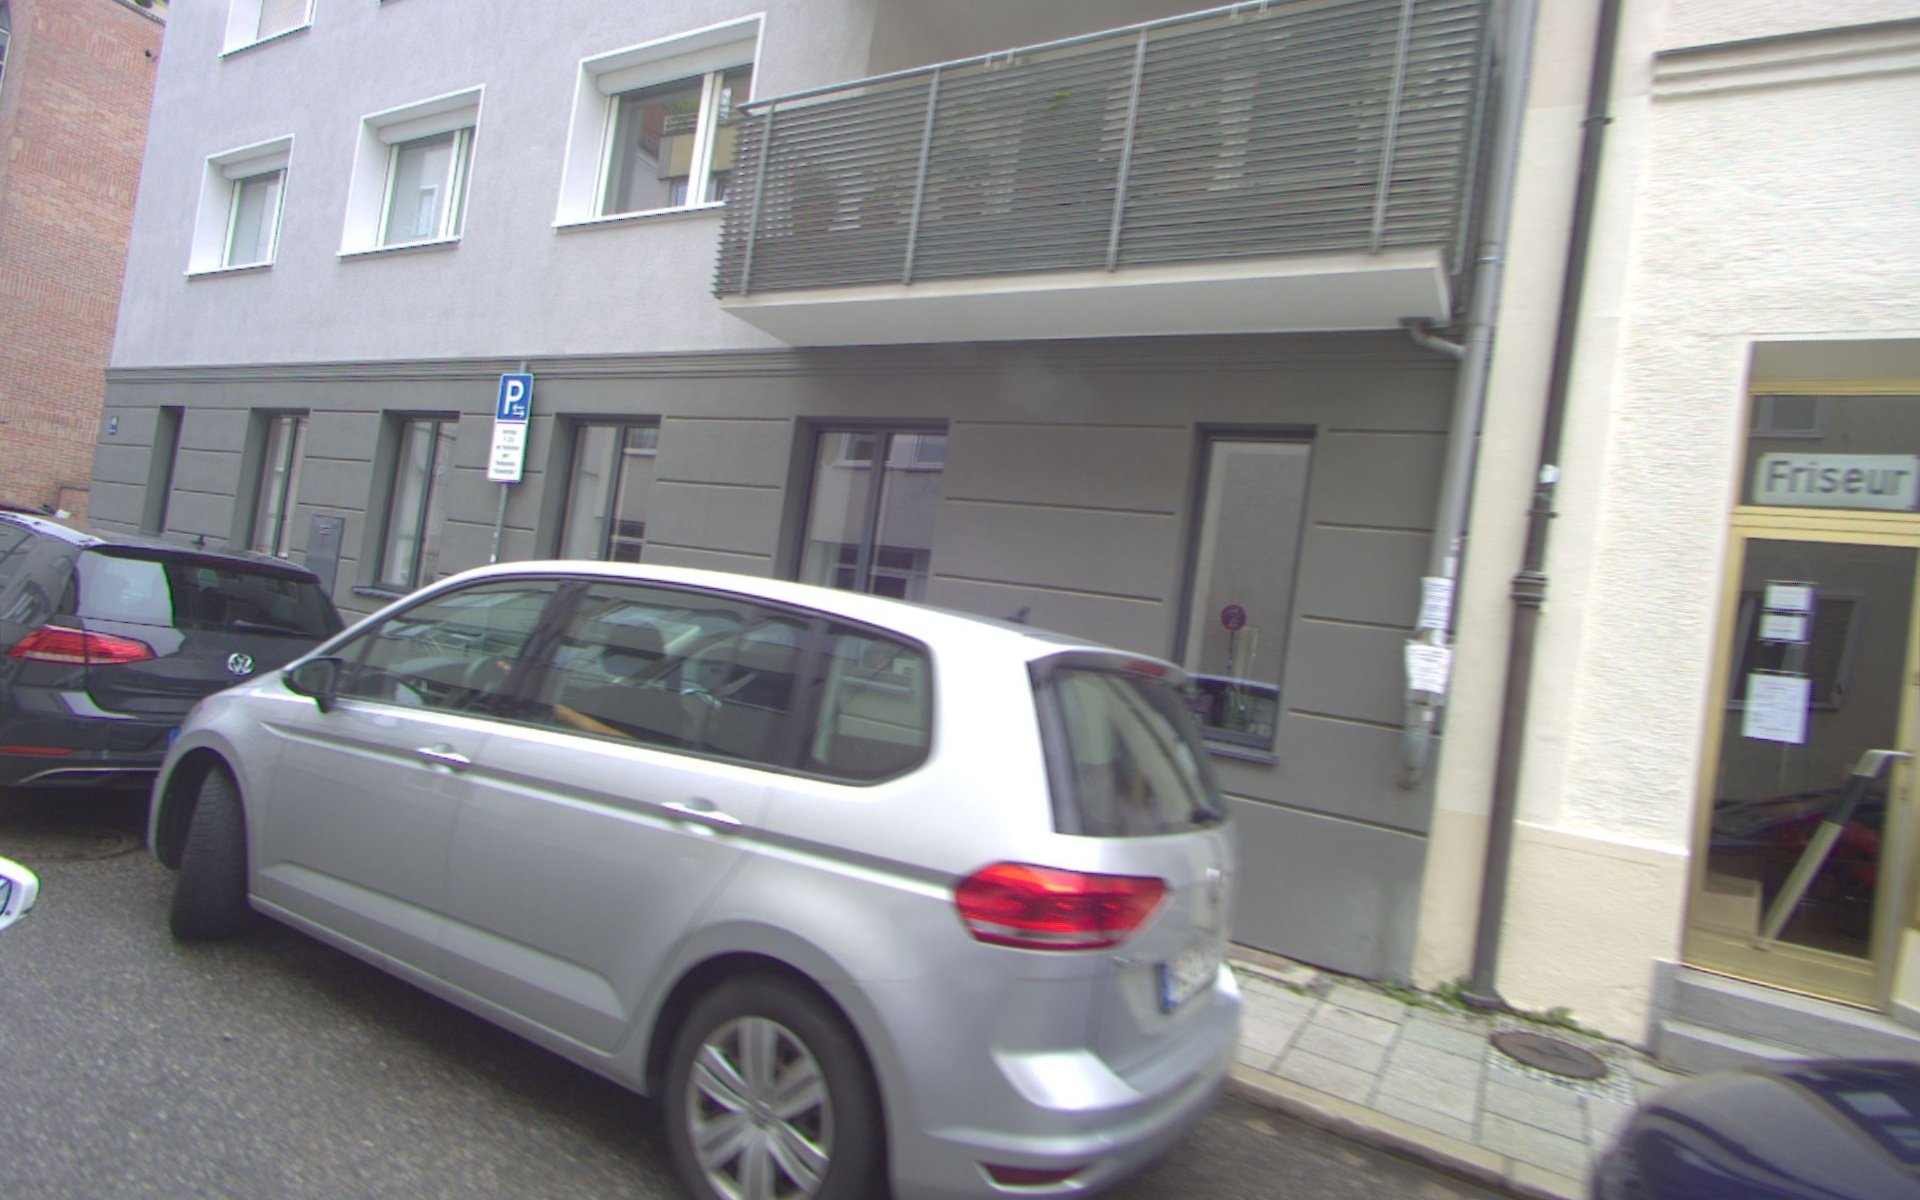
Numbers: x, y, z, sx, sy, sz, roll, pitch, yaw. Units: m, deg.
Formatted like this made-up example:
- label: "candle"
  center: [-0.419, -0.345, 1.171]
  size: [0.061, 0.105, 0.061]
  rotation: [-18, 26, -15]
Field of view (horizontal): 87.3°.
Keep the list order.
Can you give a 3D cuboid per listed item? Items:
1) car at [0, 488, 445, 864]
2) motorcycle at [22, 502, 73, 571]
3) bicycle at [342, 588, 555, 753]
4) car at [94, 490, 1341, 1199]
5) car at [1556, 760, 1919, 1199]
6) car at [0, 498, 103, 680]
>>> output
- label: "car"
  center: [-5.301, 0.207, 5.977]
  size: [4.220, 1.545, 1.845]
  rotation: [7, -3, 30]
- label: "motorcycle"
  center: [-19.877, -1.395, 21.892]
  size: [1.914, 1.360, 0.539]
  rotation: [6, -1, 43]
- label: "bicycle"
  center: [-4.378, 0.571, 8.555]
  size: [1.963, 1.104, 0.570]
  rotation: [7, -1, 32]
- label: "car"
  center: [-1.040, 0.654, 3.749]
  size: [4.242, 1.589, 1.879]
  rotation: [7, -1, 29]
- label: "car"
  center: [2.988, 1.259, 1.134]
  size: [3.880, 1.379, 1.811]
  rotation: [7, -2, 32]
- label: "car"
  center: [-9.638, -0.282, 9.283]
  size: [3.148, 1.528, 1.525]
  rotation: [7, -2, 30]
